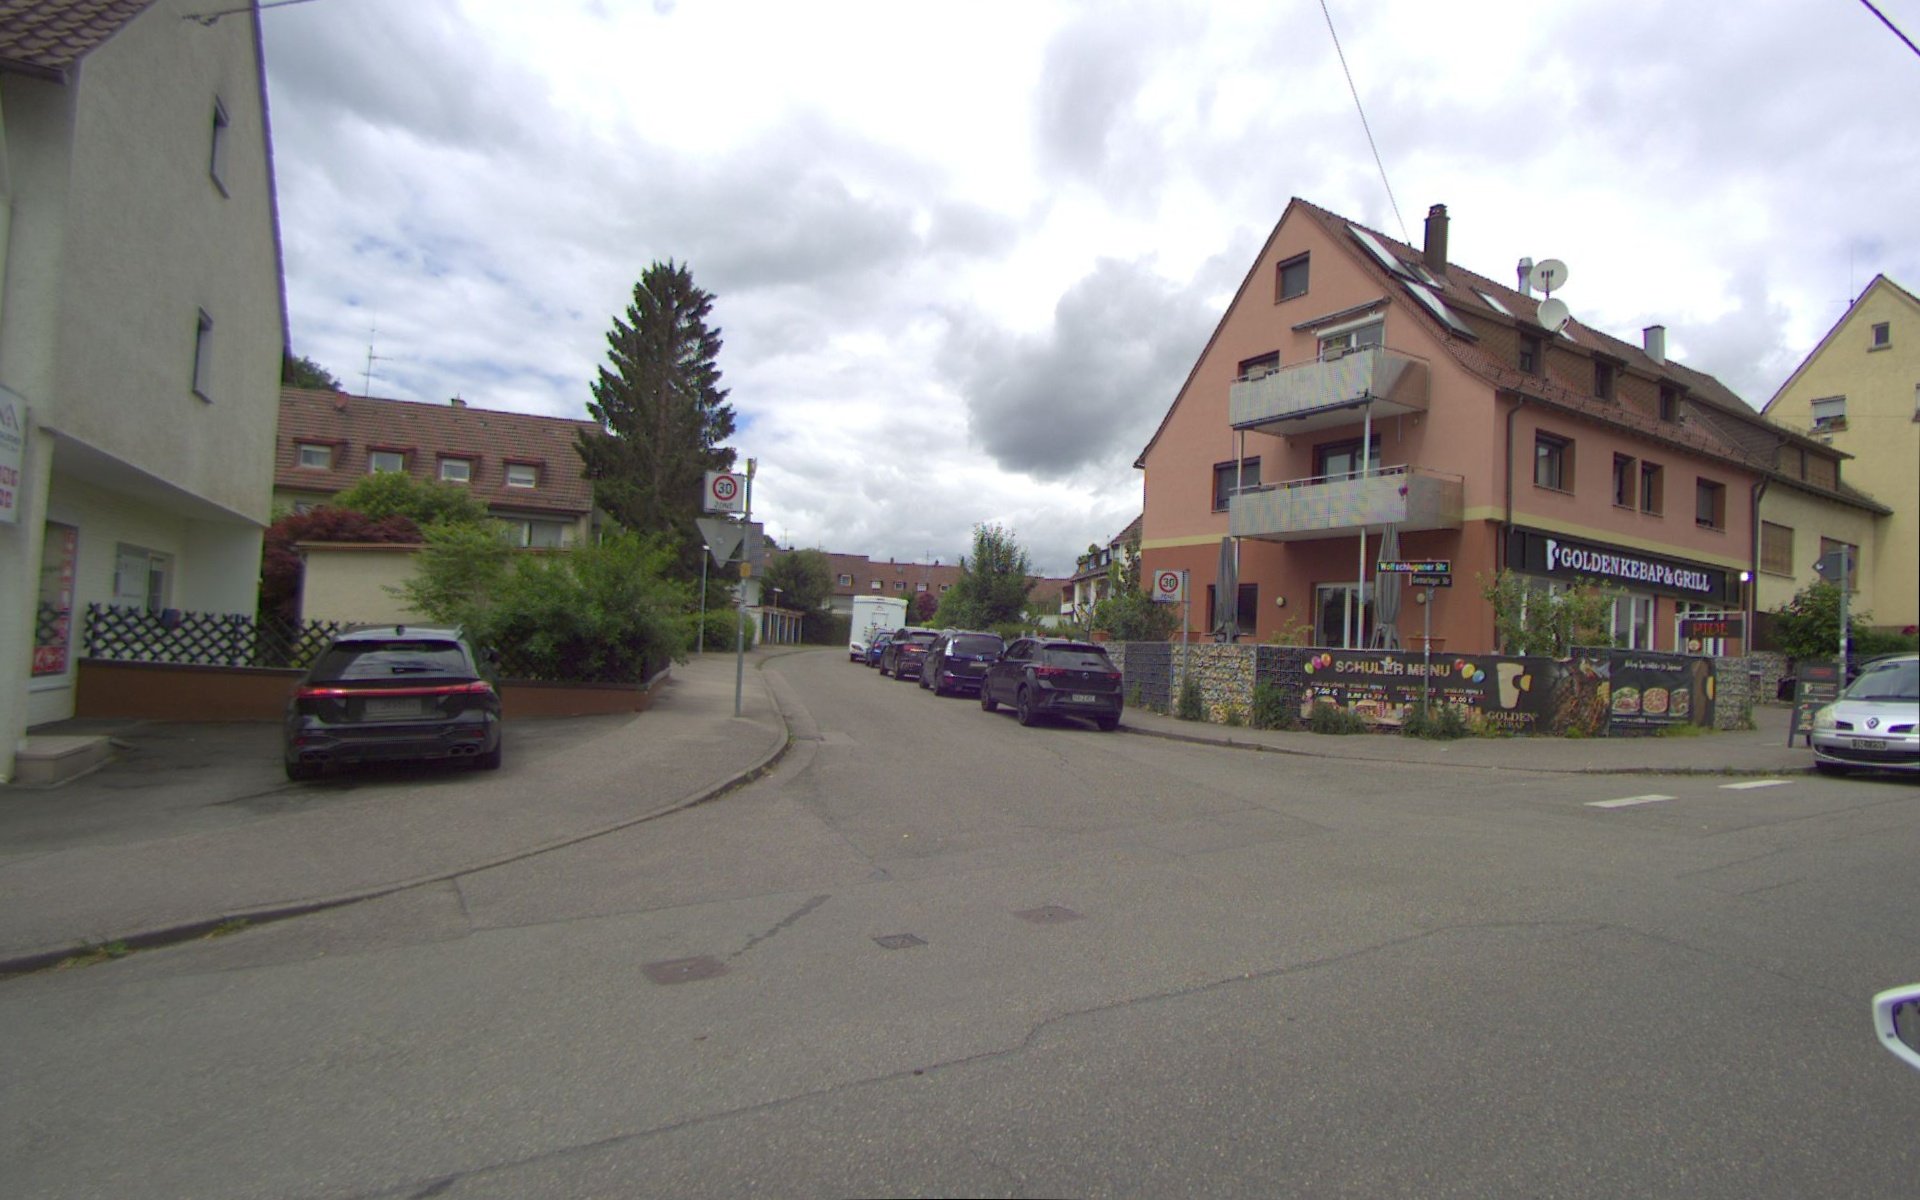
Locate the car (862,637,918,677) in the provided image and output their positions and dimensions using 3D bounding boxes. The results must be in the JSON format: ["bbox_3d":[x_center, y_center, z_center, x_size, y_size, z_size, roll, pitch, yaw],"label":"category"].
[{"bbox_3d":[-2.881,2.262,40.419,1.896,1.409,3.994,2,-1,-9],"label":"car"}]

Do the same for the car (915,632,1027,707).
[{"bbox_3d":[0.164,1.703,25.088,1.964,1.583,4.413,4,-3,-9],"label":"car"}]

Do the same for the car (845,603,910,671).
[{"bbox_3d":[-3.846,1.657,45.922,2.633,2.861,5.469,2,-1,-7],"label":"car"}]

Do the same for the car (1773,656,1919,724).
[{"bbox_3d":[22.383,2.165,23.982,1.977,1.491,4.211,6,-5,-29],"label":"car"}]

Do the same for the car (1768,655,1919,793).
[{"bbox_3d":[12.737,1.565,13.065,3.976,1.598,1.830,2,-5,-24],"label":"car"}]

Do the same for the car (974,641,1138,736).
[{"bbox_3d":[1.677,1.612,19.214,1.964,1.491,4.413,4,-3,-9],"label":"car"}]

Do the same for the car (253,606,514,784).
[{"bbox_3d":[-6.033,0.854,10.979,1.974,1.492,4.504,2,-1,-25],"label":"car"}]

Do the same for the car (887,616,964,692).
[{"bbox_3d":[-1.123,1.660,30.908,1.963,2.039,3.997,4,-3,-6],"label":"car"}]
